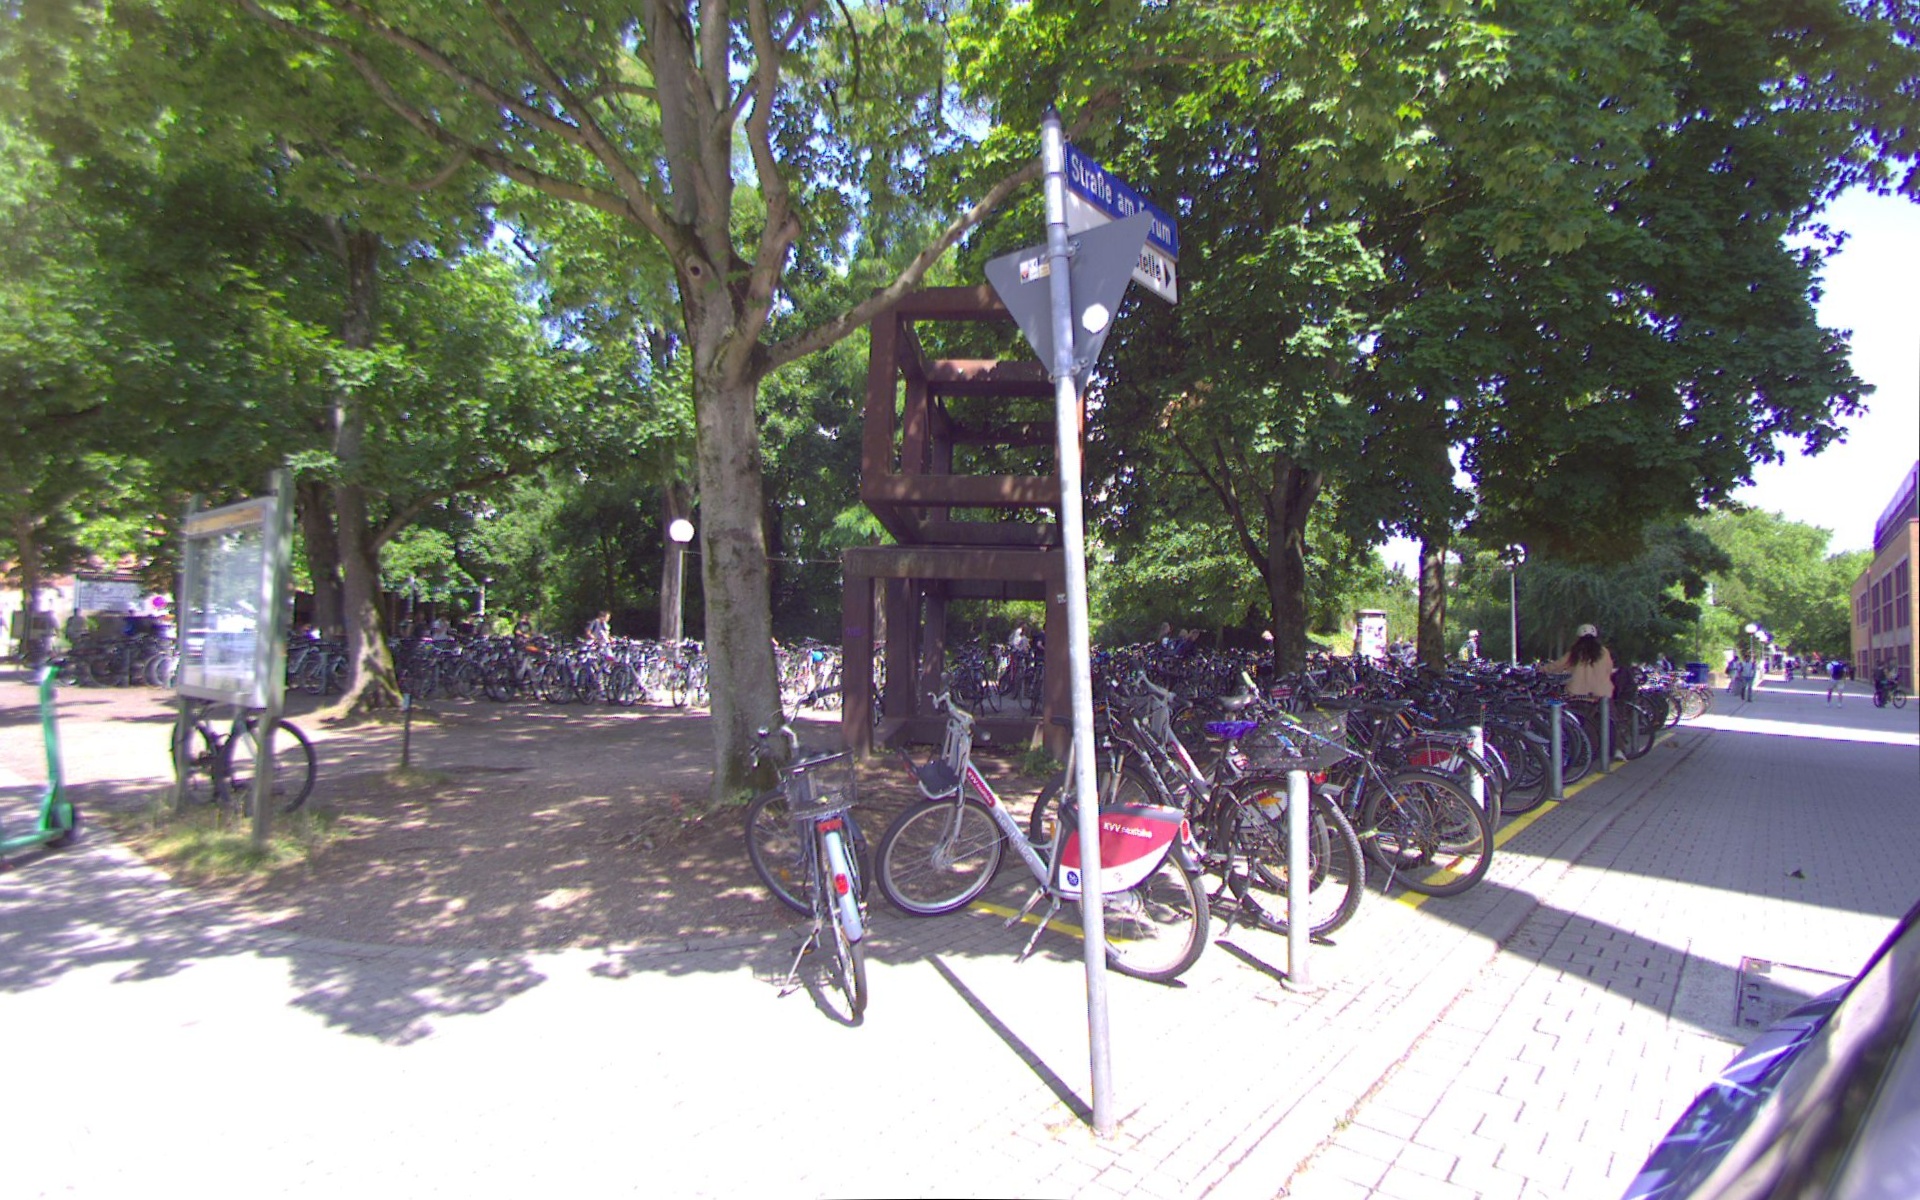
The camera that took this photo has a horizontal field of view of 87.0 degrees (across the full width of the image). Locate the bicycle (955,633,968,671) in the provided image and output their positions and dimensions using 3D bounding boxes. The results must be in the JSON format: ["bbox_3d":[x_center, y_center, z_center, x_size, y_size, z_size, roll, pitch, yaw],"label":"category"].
[{"bbox_3d":[0.053,1.561,30.716,0.341,1.107,1.610,0,-2,2],"label":"bicycle"}]

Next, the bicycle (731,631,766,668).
[{"bbox_3d":[-6.559,1.529,31.462,0.471,1.107,1.606,0,-2,10],"label":"bicycle"}]

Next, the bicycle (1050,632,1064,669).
[{"bbox_3d":[2.990,1.549,31.254,0.341,1.107,1.610,0,-2,2],"label":"bicycle"}]

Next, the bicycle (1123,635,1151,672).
[{"bbox_3d":[5.408,1.625,31.025,0.341,1.107,1.613,0,-2,-9],"label":"bicycle"}]

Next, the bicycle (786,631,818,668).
[{"bbox_3d":[-4.868,1.524,31.304,0.471,1.107,1.606,0,-2,10],"label":"bicycle"}]

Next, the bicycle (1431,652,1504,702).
[{"bbox_3d":[11.906,1.795,23.790,0.468,1.098,1.691,4,-4,-18],"label":"bicycle"}]

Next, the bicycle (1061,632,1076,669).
[{"bbox_3d":[3.338,1.547,31.238,0.341,1.107,1.610,0,-2,2],"label":"bicycle"}]

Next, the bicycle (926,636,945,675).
[{"bbox_3d":[-0.722,1.667,30.615,0.470,1.107,1.610,0,-2,2],"label":"bicycle"}]

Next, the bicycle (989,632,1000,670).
[{"bbox_3d":[1.062,1.553,31.058,0.341,1.107,1.610,0,-2,2],"label":"bicycle"}]

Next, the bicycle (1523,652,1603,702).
[{"bbox_3d":[14.100,1.783,23.703,0.468,1.098,1.691,4,-4,-18],"label":"bicycle"}]

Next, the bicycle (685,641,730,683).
[{"bbox_3d":[-6.311,1.530,25.365,0.372,0.991,1.898,0,-2,9],"label":"bicycle"}]

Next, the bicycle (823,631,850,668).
[{"bbox_3d":[-3.797,1.515,31.132,0.342,1.107,1.606,0,-2,10],"label":"bicycle"}]

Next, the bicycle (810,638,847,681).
[{"bbox_3d":[-3.208,1.441,24.875,0.372,0.991,1.898,0,-2,9],"label":"bicycle"}]

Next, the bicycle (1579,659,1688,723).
[{"bbox_3d":[12.886,1.733,19.402,1.672,1.098,0.474,1,-4,27],"label":"bicycle"}]

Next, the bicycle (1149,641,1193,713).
[{"bbox_3d":[3.722,1.337,17.954,0.406,1.185,1.844,1,-2,1],"label":"bicycle"}]

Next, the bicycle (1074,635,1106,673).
[{"bbox_3d":[3.953,1.635,30.922,0.341,1.107,1.614,1,-2,-17],"label":"bicycle"}]

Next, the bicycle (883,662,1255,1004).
[{"bbox_3d":[0.413,0.864,4.260,1.481,1.156,0.554,-2,-2,38],"label":"bicycle"}]

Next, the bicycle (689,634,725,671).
[{"bbox_3d":[-7.927,1.622,31.717,0.471,1.107,1.606,0,-2,10],"label":"bicycle"}]

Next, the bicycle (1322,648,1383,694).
[{"bbox_3d":[9.968,1.784,25.747,0.468,1.098,1.691,4,-4,-18],"label":"bicycle"}]

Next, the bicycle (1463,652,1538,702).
[{"bbox_3d":[12.730,1.789,23.897,0.468,1.098,1.691,4,-4,-18],"label":"bicycle"}]

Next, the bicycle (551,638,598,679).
[{"bbox_3d":[-9.882,1.483,26.015,0.469,0.991,1.903,0,-2,1],"label":"bicycle"}]

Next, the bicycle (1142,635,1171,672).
[{"bbox_3d":[6.023,1.622,31.017,0.341,1.107,1.613,0,-2,-9],"label":"bicycle"}]

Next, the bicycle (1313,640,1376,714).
[{"bbox_3d":[6.703,1.314,17.718,0.406,1.185,1.844,1,-2,1],"label":"bicycle"}]

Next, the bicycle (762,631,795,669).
[{"bbox_3d":[-5.568,1.529,31.171,0.471,1.107,1.606,0,-2,10],"label":"bicycle"}]

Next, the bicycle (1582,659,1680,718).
[{"bbox_3d":[13.831,1.819,20.886,1.677,1.098,0.472,1,-5,36],"label":"bicycle"}]

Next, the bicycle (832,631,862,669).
[{"bbox_3d":[-3.451,1.515,31.063,0.471,1.107,1.606,0,-2,10],"label":"bicycle"}]

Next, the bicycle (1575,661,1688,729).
[{"bbox_3d":[12.054,1.685,18.202,1.677,1.098,0.472,1,-5,36],"label":"bicycle"}]

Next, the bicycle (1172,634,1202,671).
[{"bbox_3d":[7.034,1.612,31.394,0.341,1.107,1.613,0,-2,-9],"label":"bicycle"}]

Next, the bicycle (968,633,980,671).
[{"bbox_3d":[0.430,1.560,30.675,0.341,1.107,1.610,0,-2,2],"label":"bicycle"}]

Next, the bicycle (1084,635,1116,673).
[{"bbox_3d":[4.280,1.632,31.031,0.341,1.107,1.614,1,-2,-17],"label":"bicycle"}]

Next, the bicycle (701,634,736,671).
[{"bbox_3d":[-7.552,1.620,31.697,0.471,1.107,1.606,0,-2,10],"label":"bicycle"}]

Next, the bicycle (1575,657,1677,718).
[{"bbox_3d":[13.241,1.737,20.150,1.677,1.098,0.472,1,-5,36],"label":"bicycle"}]

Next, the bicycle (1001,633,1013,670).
[{"bbox_3d":[1.427,1.560,31.005,0.341,1.107,1.610,0,-2,2],"label":"bicycle"}]

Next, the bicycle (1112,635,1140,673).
[{"bbox_3d":[5.072,1.628,30.972,0.341,1.107,1.613,0,-2,-9],"label":"bicycle"}]

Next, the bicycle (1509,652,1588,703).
[{"bbox_3d":[13.658,1.787,23.550,0.468,1.098,1.691,4,-4,-18],"label":"bicycle"}]

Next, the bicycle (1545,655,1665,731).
[{"bbox_3d":[10.857,1.552,17.061,1.677,1.144,0.472,1,-5,36],"label":"bicycle"}]

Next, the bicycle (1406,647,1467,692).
[{"bbox_3d":[12.222,1.772,25.996,0.469,1.098,1.690,4,-4,-11],"label":"bicycle"}]

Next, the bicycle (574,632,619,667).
[{"bbox_3d":[-11.677,1.576,32.584,0.471,1.107,1.745,0,-2,14],"label":"bicycle"}]

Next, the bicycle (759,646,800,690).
[{"bbox_3d":[-4.415,1.650,24.815,0.372,0.991,1.898,0,-2,9],"label":"bicycle"}]

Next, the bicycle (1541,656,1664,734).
[{"bbox_3d":[10.513,1.537,16.595,1.677,1.144,0.472,1,-5,36],"label":"bicycle"}]

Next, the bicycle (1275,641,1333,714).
[{"bbox_3d":[5.997,1.320,17.729,0.406,1.185,1.844,1,-2,1],"label":"bicycle"}]

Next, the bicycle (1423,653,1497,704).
[{"bbox_3d":[11.533,1.801,23.403,0.468,1.098,1.691,4,-4,-18],"label":"bicycle"}]

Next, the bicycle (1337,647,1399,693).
[{"bbox_3d":[10.422,1.780,25.894,0.468,1.098,1.691,4,-4,-18],"label":"bicycle"}]

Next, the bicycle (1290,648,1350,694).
[{"bbox_3d":[9.138,1.789,25.751,0.468,1.098,1.691,4,-4,-18],"label":"bicycle"}]

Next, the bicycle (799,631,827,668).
[{"bbox_3d":[-4.526,1.522,31.239,0.342,1.107,1.606,0,-2,10],"label":"bicycle"}]

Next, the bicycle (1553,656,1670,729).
[{"bbox_3d":[11.256,1.584,17.519,1.677,1.144,0.472,1,-5,36],"label":"bicycle"}]

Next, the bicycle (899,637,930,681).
[{"bbox_3d":[-1.097,1.425,24.764,0.372,0.991,1.898,0,-2,9],"label":"bicycle"}]

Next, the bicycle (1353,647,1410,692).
[{"bbox_3d":[10.849,1.779,26.081,0.469,1.098,1.690,4,-4,-11],"label":"bicycle"}]

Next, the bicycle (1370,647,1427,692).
[{"bbox_3d":[11.324,1.775,26.181,0.469,1.098,1.690,4,-4,-11],"label":"bicycle"}]

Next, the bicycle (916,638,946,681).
[{"bbox_3d":[-0.688,1.433,24.686,0.372,0.991,1.898,0,-2,9],"label":"bicycle"}]
